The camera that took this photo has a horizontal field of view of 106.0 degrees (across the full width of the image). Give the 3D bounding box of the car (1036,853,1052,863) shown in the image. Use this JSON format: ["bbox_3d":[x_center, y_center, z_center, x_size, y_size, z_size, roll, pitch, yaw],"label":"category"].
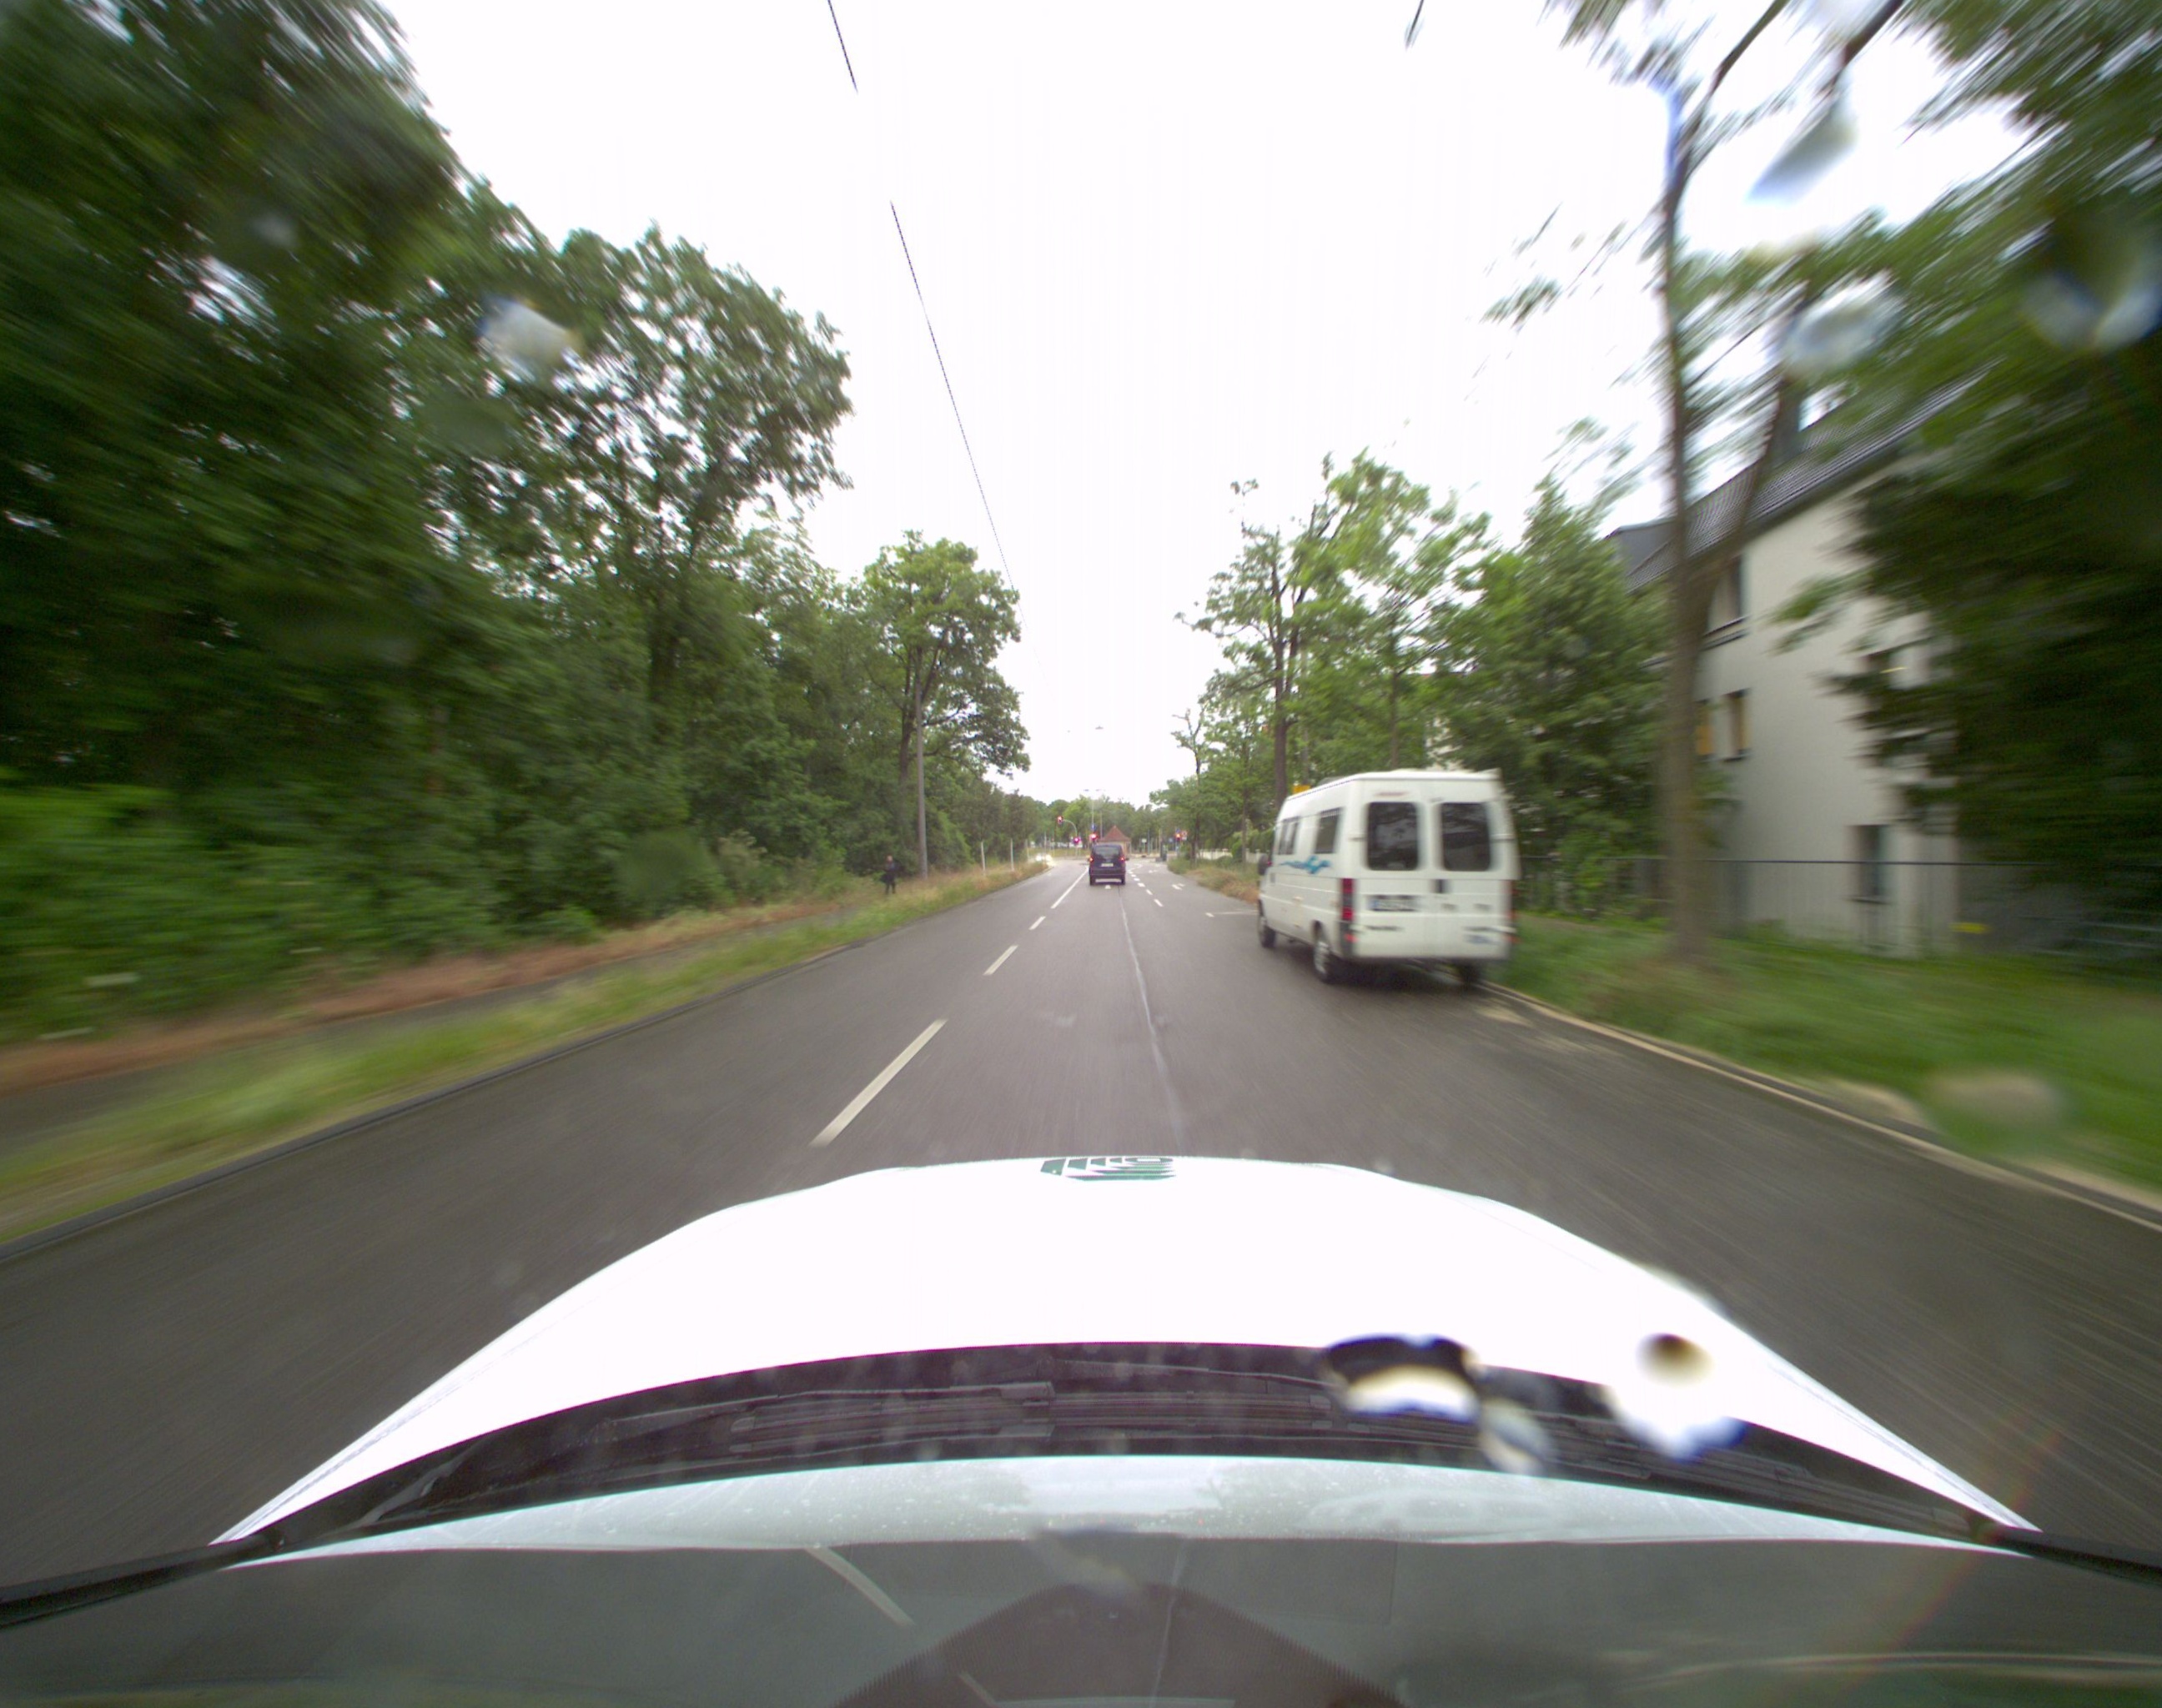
[{"bbox_3d":[-5.480,0.504,119.111,1.991,1.311,4.349,-3,1,-7],"label":"car"}]

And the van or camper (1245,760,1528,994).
[{"bbox_3d":[3.863,0.237,11.600,2.029,2.479,5.640,1,0,2],"label":"van or camper"}]

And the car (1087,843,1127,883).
[{"bbox_3d":[1.206,0.386,37.635,1.725,1.786,4.002,0,0,2],"label":"car"}]

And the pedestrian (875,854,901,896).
[{"bbox_3d":[-7.674,0.832,32.404,0.778,1.607,0.732,-1,0,1],"label":"pedestrian"}]
